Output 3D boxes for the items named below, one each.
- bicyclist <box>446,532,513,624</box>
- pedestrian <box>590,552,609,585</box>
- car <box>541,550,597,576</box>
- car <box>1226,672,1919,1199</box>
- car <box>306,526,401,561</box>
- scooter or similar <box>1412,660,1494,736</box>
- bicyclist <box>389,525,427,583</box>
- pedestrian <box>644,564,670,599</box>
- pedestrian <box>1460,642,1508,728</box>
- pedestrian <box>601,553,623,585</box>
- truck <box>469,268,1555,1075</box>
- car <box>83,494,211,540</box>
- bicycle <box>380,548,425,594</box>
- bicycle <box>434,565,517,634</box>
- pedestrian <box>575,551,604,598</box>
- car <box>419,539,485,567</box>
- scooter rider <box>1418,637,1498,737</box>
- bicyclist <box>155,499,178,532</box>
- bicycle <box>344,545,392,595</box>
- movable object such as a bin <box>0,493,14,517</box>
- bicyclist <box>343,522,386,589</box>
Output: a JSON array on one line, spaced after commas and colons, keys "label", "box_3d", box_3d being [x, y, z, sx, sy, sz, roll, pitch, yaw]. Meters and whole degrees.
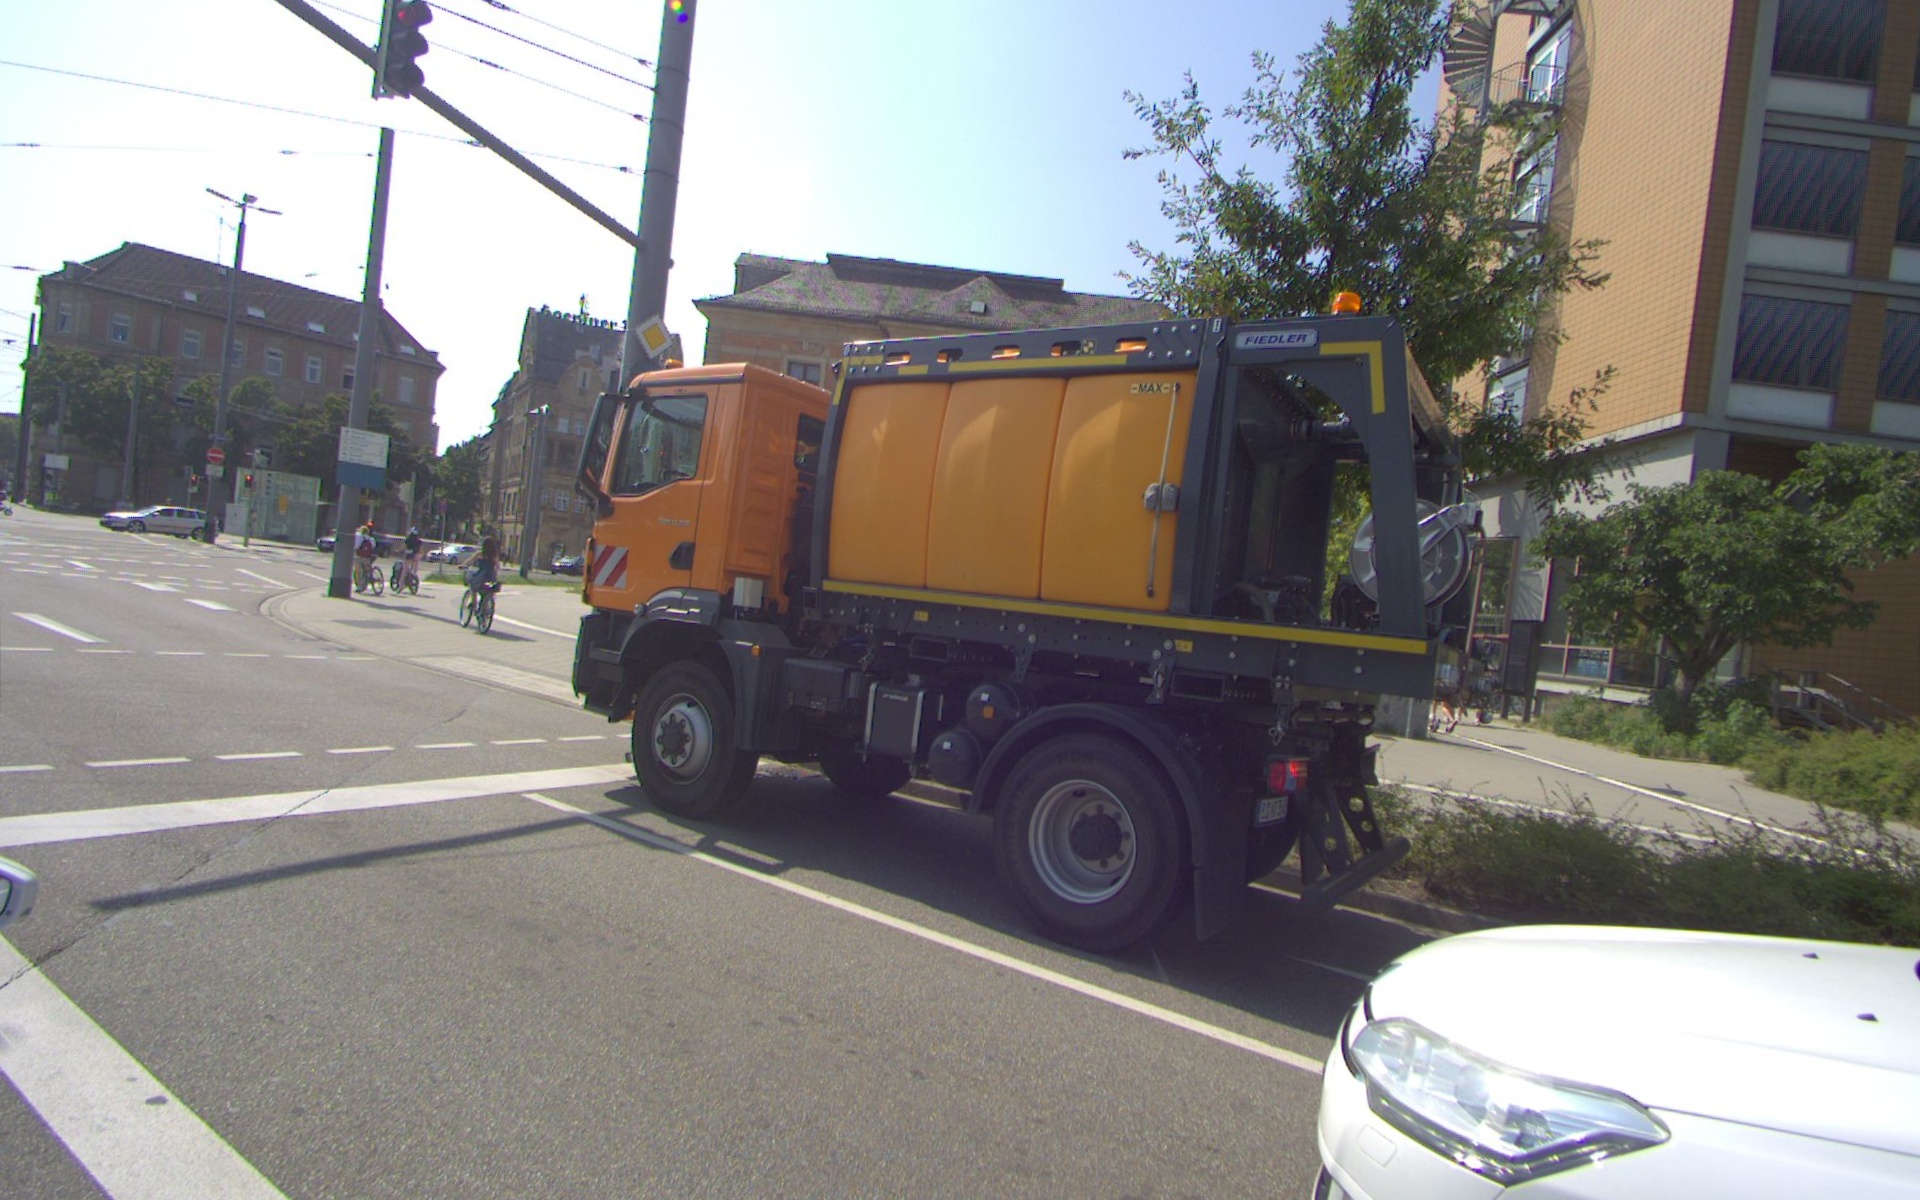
[{"label": "bicyclist", "box_3d": [-8.669, -0.392, 18.158, 0.653, 1.537, 0.734, 7, 1, 36]}, {"label": "pedestrian", "box_3d": [-18.636, -1.617, 52.009, 0.727, 1.595, 0.787, 6, 1, -14]}, {"label": "car", "box_3d": [-31.782, -2.989, 81.953, 1.962, 1.523, 4.628, 7, 0, 11]}, {"label": "car", "box_3d": [2.865, 1.128, 1.328, 4.535, 1.446, 1.770, 7, 0, 33]}, {"label": "car", "box_3d": [-34.404, -3.186, 57.238, 1.742, 1.433, 4.771, 7, 0, 13]}, {"label": "scooter or similar", "box_3d": [9.611, 1.911, 19.620, 1.162, 1.294, 0.648, 6, -1, 45]}, {"label": "bicyclist", "box_3d": [-14.498, -1.218, 26.413, 0.882, 1.410, 0.529, 7, 1, 44]}, {"label": "pedestrian", "box_3d": [-13.183, -0.793, 43.733, 0.679, 1.417, 0.767, 7, 1, 7]}, {"label": "pedestrian", "box_3d": [12.182, 1.958, 23.415, 0.617, 1.895, 0.837, 6, 1, 13]}, {"label": "pedestrian", "box_3d": [-14.278, -1.283, 41.265, 0.660, 1.229, 0.523, 6, 1, -30]}, {"label": "truck", "box_3d": [-0.092, 0.083, 6.857, 6.751, 3.171, 2.496, 7, -2, 34]}, {"label": "car", "box_3d": [-37.562, -3.805, 46.603, 1.745, 1.433, 4.183, 7, 0, 27]}, {"label": "bicycle", "box_3d": [-14.800, -0.780, 26.688, 1.632, 1.068, 0.535, 7, 1, 45]}, {"label": "bicycle", "box_3d": [-8.821, -0.021, 18.278, 1.794, 1.068, 0.492, 7, 1, 37]}, {"label": "pedestrian", "box_3d": [-14.424, -0.990, 39.203, 0.808, 1.746, 0.546, 6, 1, -9]}, {"label": "car", "box_3d": [-33.636, -3.089, 66.783, 1.742, 1.433, 4.203, 7, 0, 7]}, {"label": "scooter rider", "box_3d": [9.676, 1.696, 19.556, 1.027, 1.779, 0.856, 6, -2, 44]}, {"label": "bicyclist", "box_3d": [-40.095, -4.258, 50.844, 0.511, 1.548, 0.613, 7, 1, 8]}, {"label": "bicycle", "box_3d": [-14.500, -0.734, 24.618, 1.632, 1.068, 0.535, 7, 1, 45]}, {"label": "movable object such as a bin", "box_3d": [-45.750, -4.546, 47.924, 0.502, 1.091, 0.815, 7, 1, 21]}, {"label": "bicyclist", "box_3d": [-14.664, -1.097, 24.763, 0.702, 1.537, 0.626, 7, 1, 44]}]
